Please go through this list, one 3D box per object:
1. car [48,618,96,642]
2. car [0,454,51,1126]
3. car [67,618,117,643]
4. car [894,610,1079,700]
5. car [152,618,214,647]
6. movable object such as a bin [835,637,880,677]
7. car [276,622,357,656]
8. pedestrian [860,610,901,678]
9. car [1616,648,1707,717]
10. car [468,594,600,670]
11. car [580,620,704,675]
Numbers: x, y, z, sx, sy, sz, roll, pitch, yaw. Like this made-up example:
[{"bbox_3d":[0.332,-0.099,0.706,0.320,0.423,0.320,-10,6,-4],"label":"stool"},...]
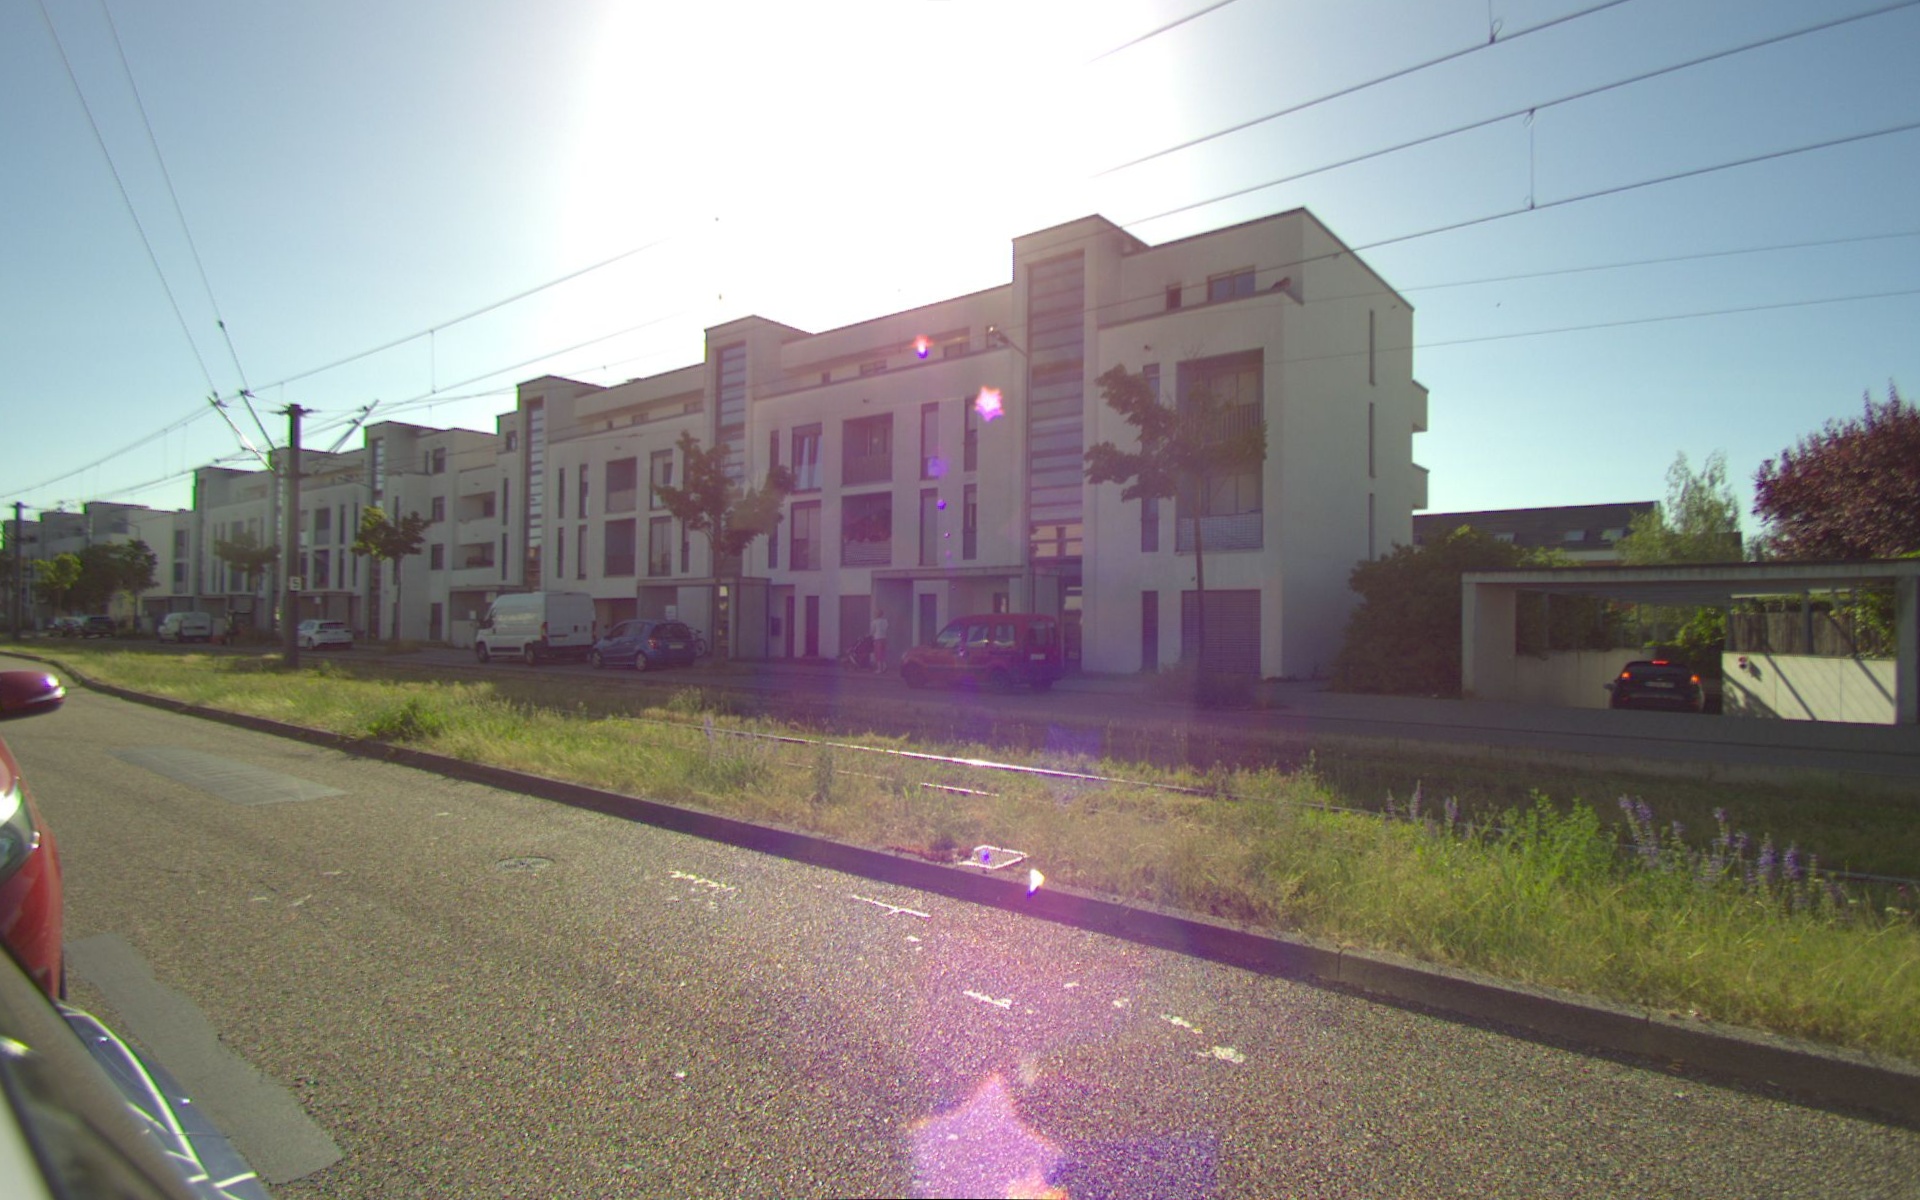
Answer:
[{"bbox_3d":[-67.512,2.259,76.921,4.277,1.693,1.900,-1,0,37],"label":"car"},{"bbox_3d":[-4.897,0.556,3.677,4.505,1.868,1.850,-1,0,41],"label":"car"},{"bbox_3d":[-62.967,2.168,73.396,4.277,1.693,1.900,-1,0,37],"label":"car"},{"bbox_3d":[0.549,1.168,23.012,3.895,1.842,1.972,-1,0,43],"label":"car"},{"bbox_3d":[-47.345,1.964,61.616,4.277,1.693,1.900,-1,0,37],"label":"car"},{"bbox_3d":[-2.898,1.590,28.664,1.083,1.062,0.719,-1,0,42],"label":"movable object such as a bin"},{"bbox_3d":[-31.125,1.840,48.891,4.277,1.517,1.900,-1,0,37],"label":"car"},{"bbox_3d":[-2.200,1.197,28.038,0.785,1.836,0.766,-1,0,41],"label":"pedestrian"},{"bbox_3d":[16.234,1.941,23.349,1.574,1.337,3.950,-1,-7,37],"label":"car"},{"bbox_3d":[-15.184,1.076,35.937,5.193,2.491,2.197,-1,0,40],"label":"car"},{"bbox_3d":[-9.989,1.448,31.732,3.833,1.556,1.973,-1,0,40],"label":"car"}]
